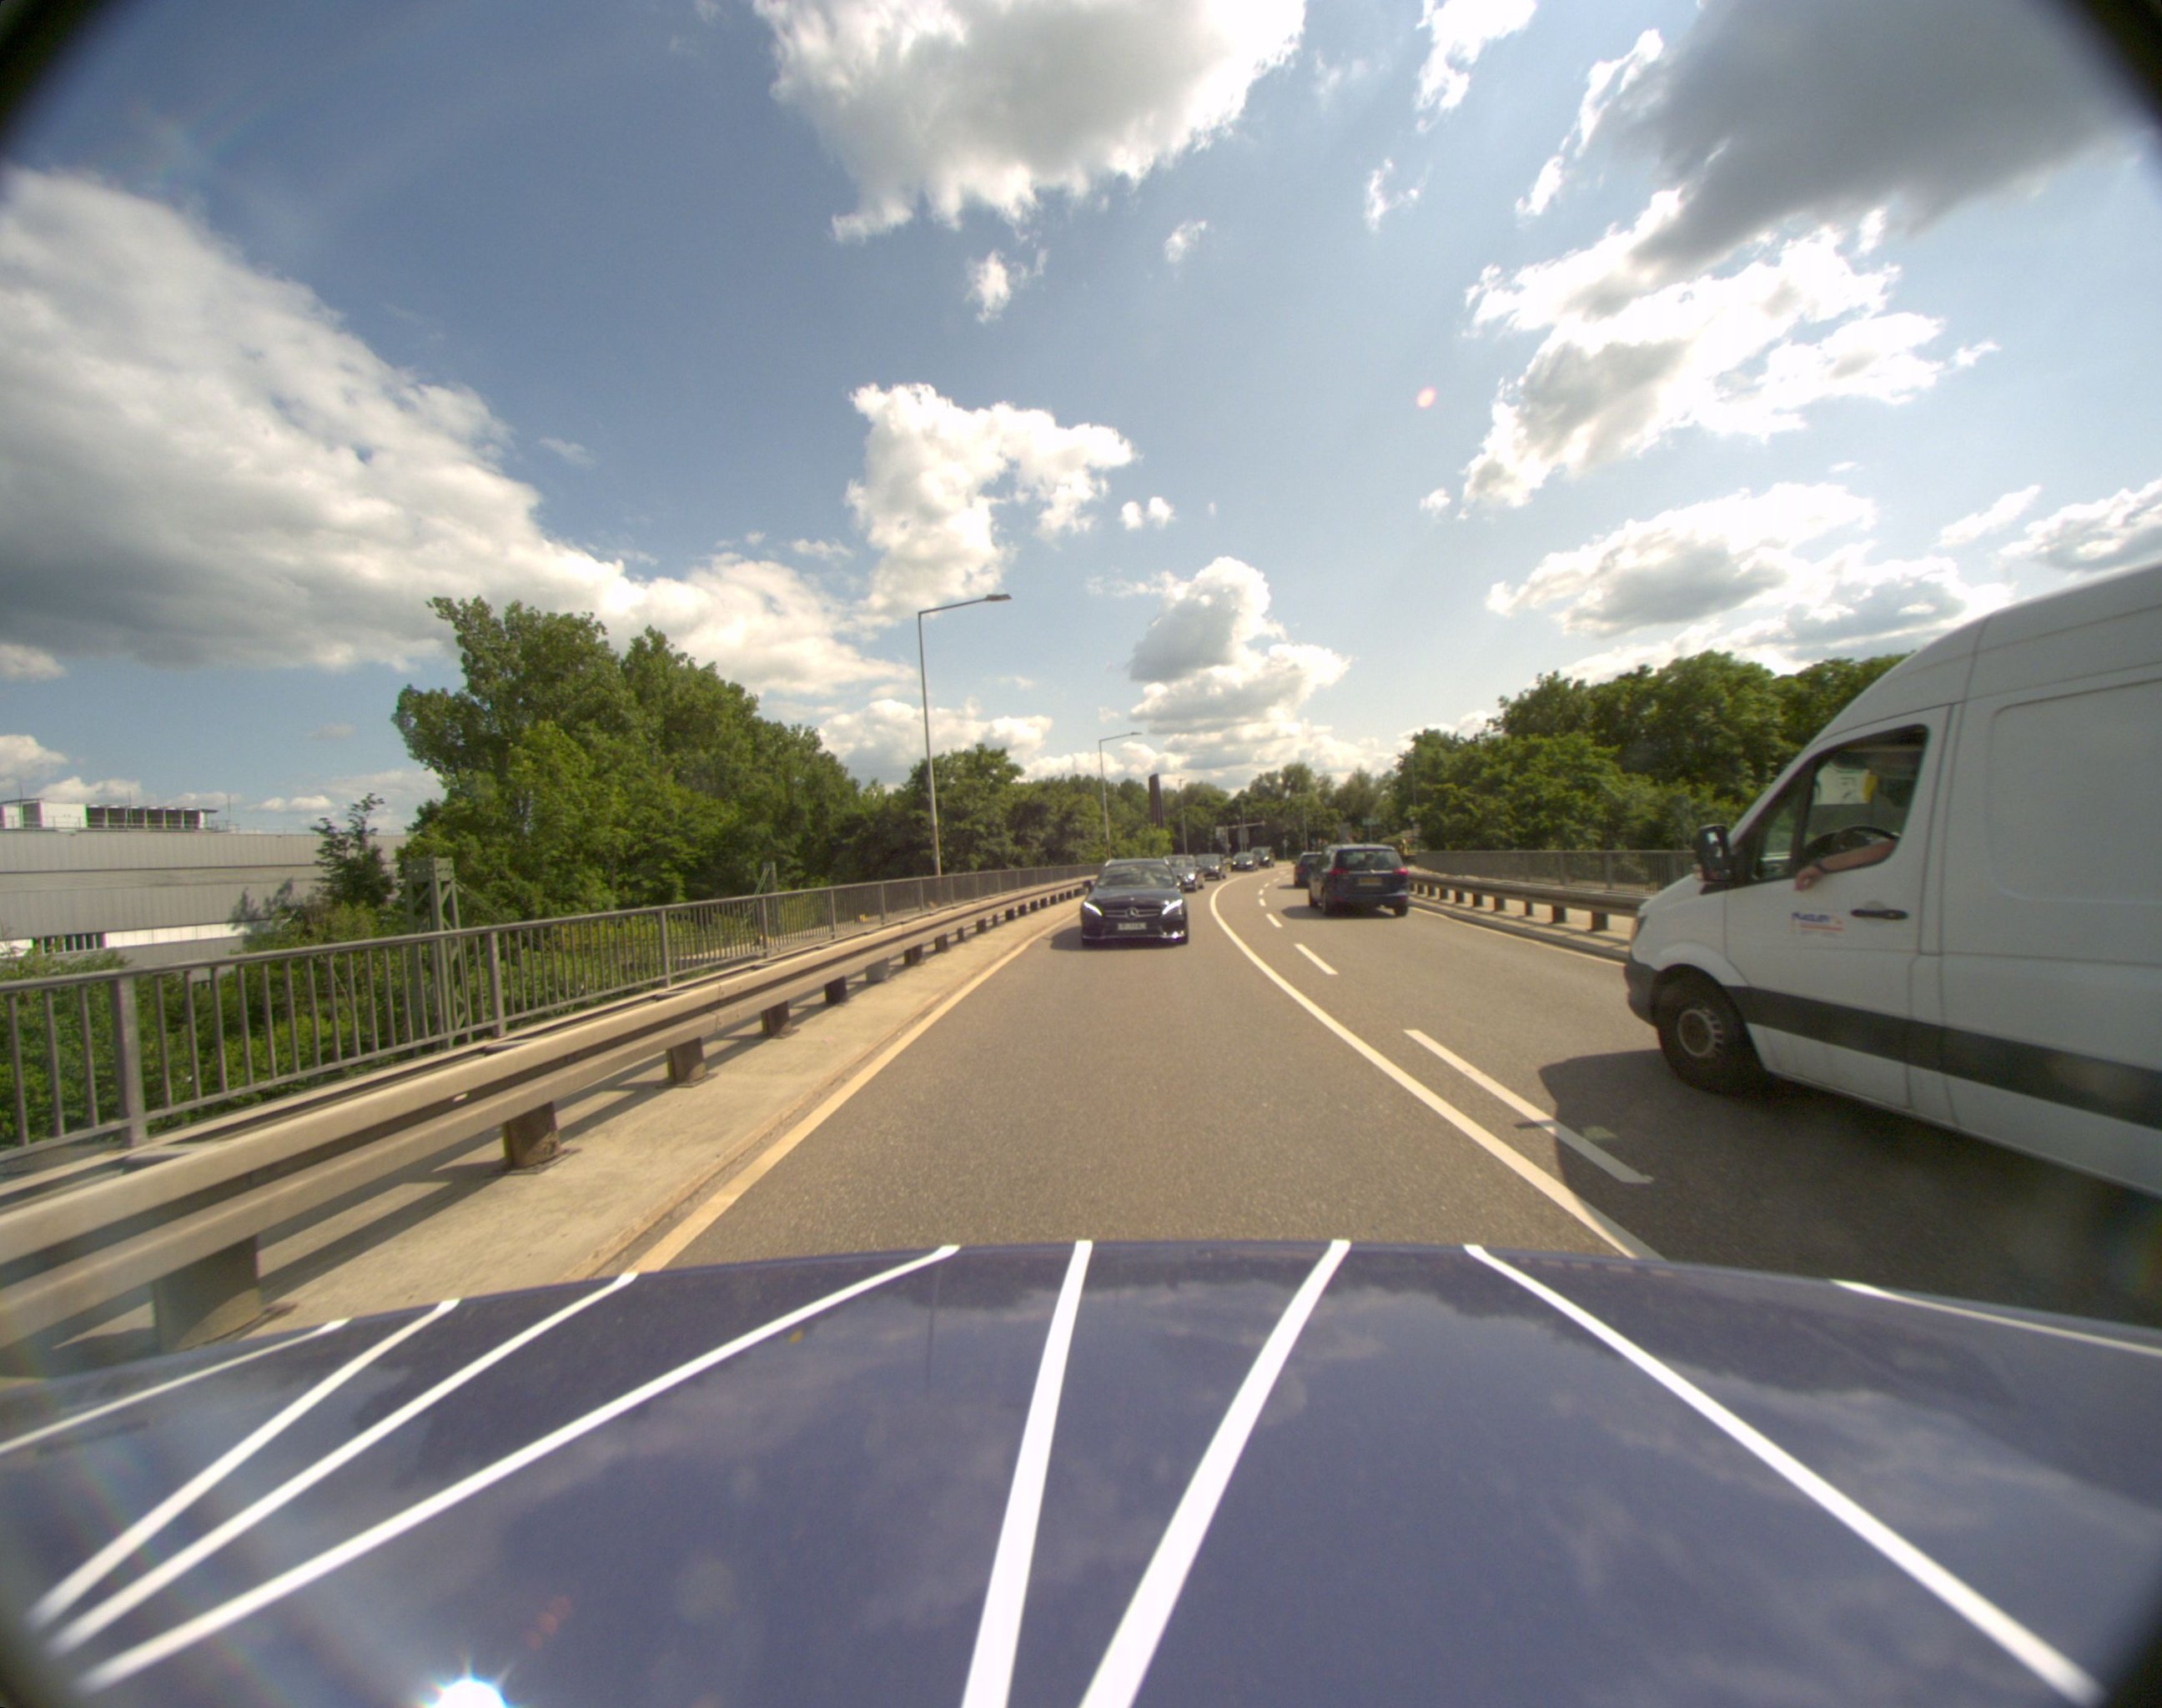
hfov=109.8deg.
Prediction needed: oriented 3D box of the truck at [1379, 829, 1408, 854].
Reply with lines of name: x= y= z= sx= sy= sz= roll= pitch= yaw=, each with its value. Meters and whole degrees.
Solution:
truck: x=34.190 y=-1.335 z=83.044 sx=1.994 sy=2.606 sz=6.115 roll=0 pitch=1 yaw=31

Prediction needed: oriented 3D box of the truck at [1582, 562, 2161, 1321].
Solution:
truck: x=4.541 y=0.275 z=2.473 sx=1.998 sy=2.493 sz=5.948 roll=-1 pitch=0 yaw=2

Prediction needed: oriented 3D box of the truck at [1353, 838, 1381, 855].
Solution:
truck: x=33.235 y=-0.893 z=88.150 sx=1.961 sy=1.902 sz=5.380 roll=-2 pitch=0 yaw=32

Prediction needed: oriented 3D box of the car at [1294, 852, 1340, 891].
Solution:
car: x=9.811 y=0.676 z=31.665 sx=1.661 sy=1.445 sz=4.331 roll=-1 pitch=0 yaw=17

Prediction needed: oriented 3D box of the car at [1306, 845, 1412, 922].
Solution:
car: x=6.616 y=0.607 z=18.534 sx=1.720 sy=1.622 sz=4.431 roll=-1 pitch=1 yaw=11

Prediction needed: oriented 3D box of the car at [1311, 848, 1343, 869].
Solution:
car: x=17.621 y=0.277 z=54.373 sx=1.796 sy=1.367 sz=4.587 roll=-2 pitch=0 yaw=22

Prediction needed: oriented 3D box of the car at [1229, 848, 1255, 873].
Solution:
car: x=12.317 y=0.451 z=57.942 sx=1.636 sy=1.505 sz=3.722 roll=-4 pitch=3 yaw=15

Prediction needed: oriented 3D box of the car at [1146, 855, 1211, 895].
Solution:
car: x=3.995 y=0.802 z=30.564 sx=1.856 sy=1.355 sz=4.004 roll=-1 pitch=1 yaw=18

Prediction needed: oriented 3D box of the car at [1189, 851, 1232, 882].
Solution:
car: x=7.315 y=0.656 z=42.477 sx=1.820 sy=1.330 sz=4.733 roll=-5 pitch=1 yaw=15

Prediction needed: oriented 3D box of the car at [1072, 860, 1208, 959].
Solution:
car: x=1.273 y=0.897 z=14.231 sx=1.793 sy=1.427 sz=4.374 roll=0 pitch=1 yaw=14
